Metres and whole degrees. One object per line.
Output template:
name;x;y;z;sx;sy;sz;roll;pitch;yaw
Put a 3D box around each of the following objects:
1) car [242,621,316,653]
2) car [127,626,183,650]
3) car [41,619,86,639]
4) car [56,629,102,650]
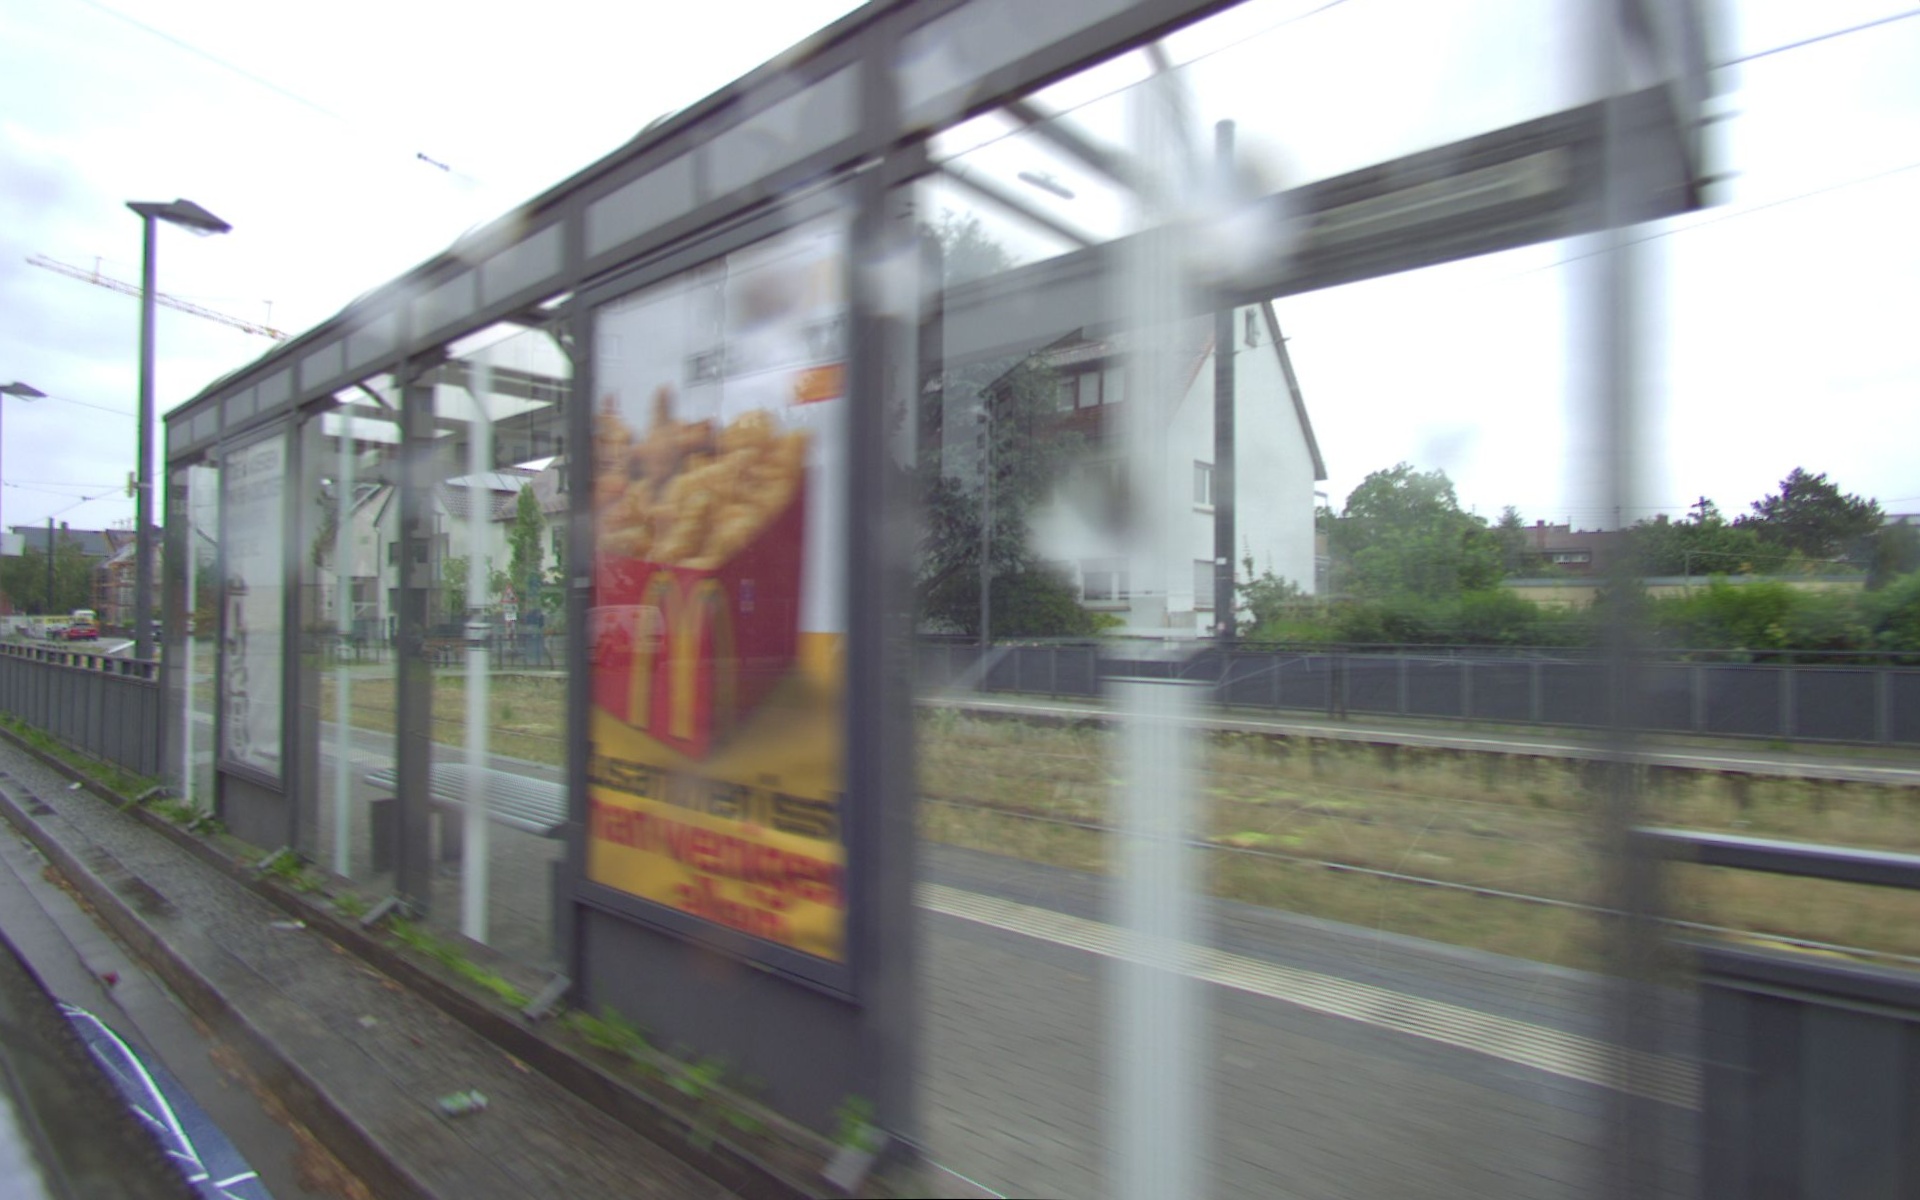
car;-33.318;1.776;49.496;3.653;1.424;1.975;0;0;38
car;-50.069;2.371;62.960;4.168;1.437;1.819;-2;-1;38
car;-70.649;2.298;79.739;4.168;1.420;1.975;-3;-2;38
car;-66.380;2.962;76.253;3.838;1.383;1.975;0;0;38
